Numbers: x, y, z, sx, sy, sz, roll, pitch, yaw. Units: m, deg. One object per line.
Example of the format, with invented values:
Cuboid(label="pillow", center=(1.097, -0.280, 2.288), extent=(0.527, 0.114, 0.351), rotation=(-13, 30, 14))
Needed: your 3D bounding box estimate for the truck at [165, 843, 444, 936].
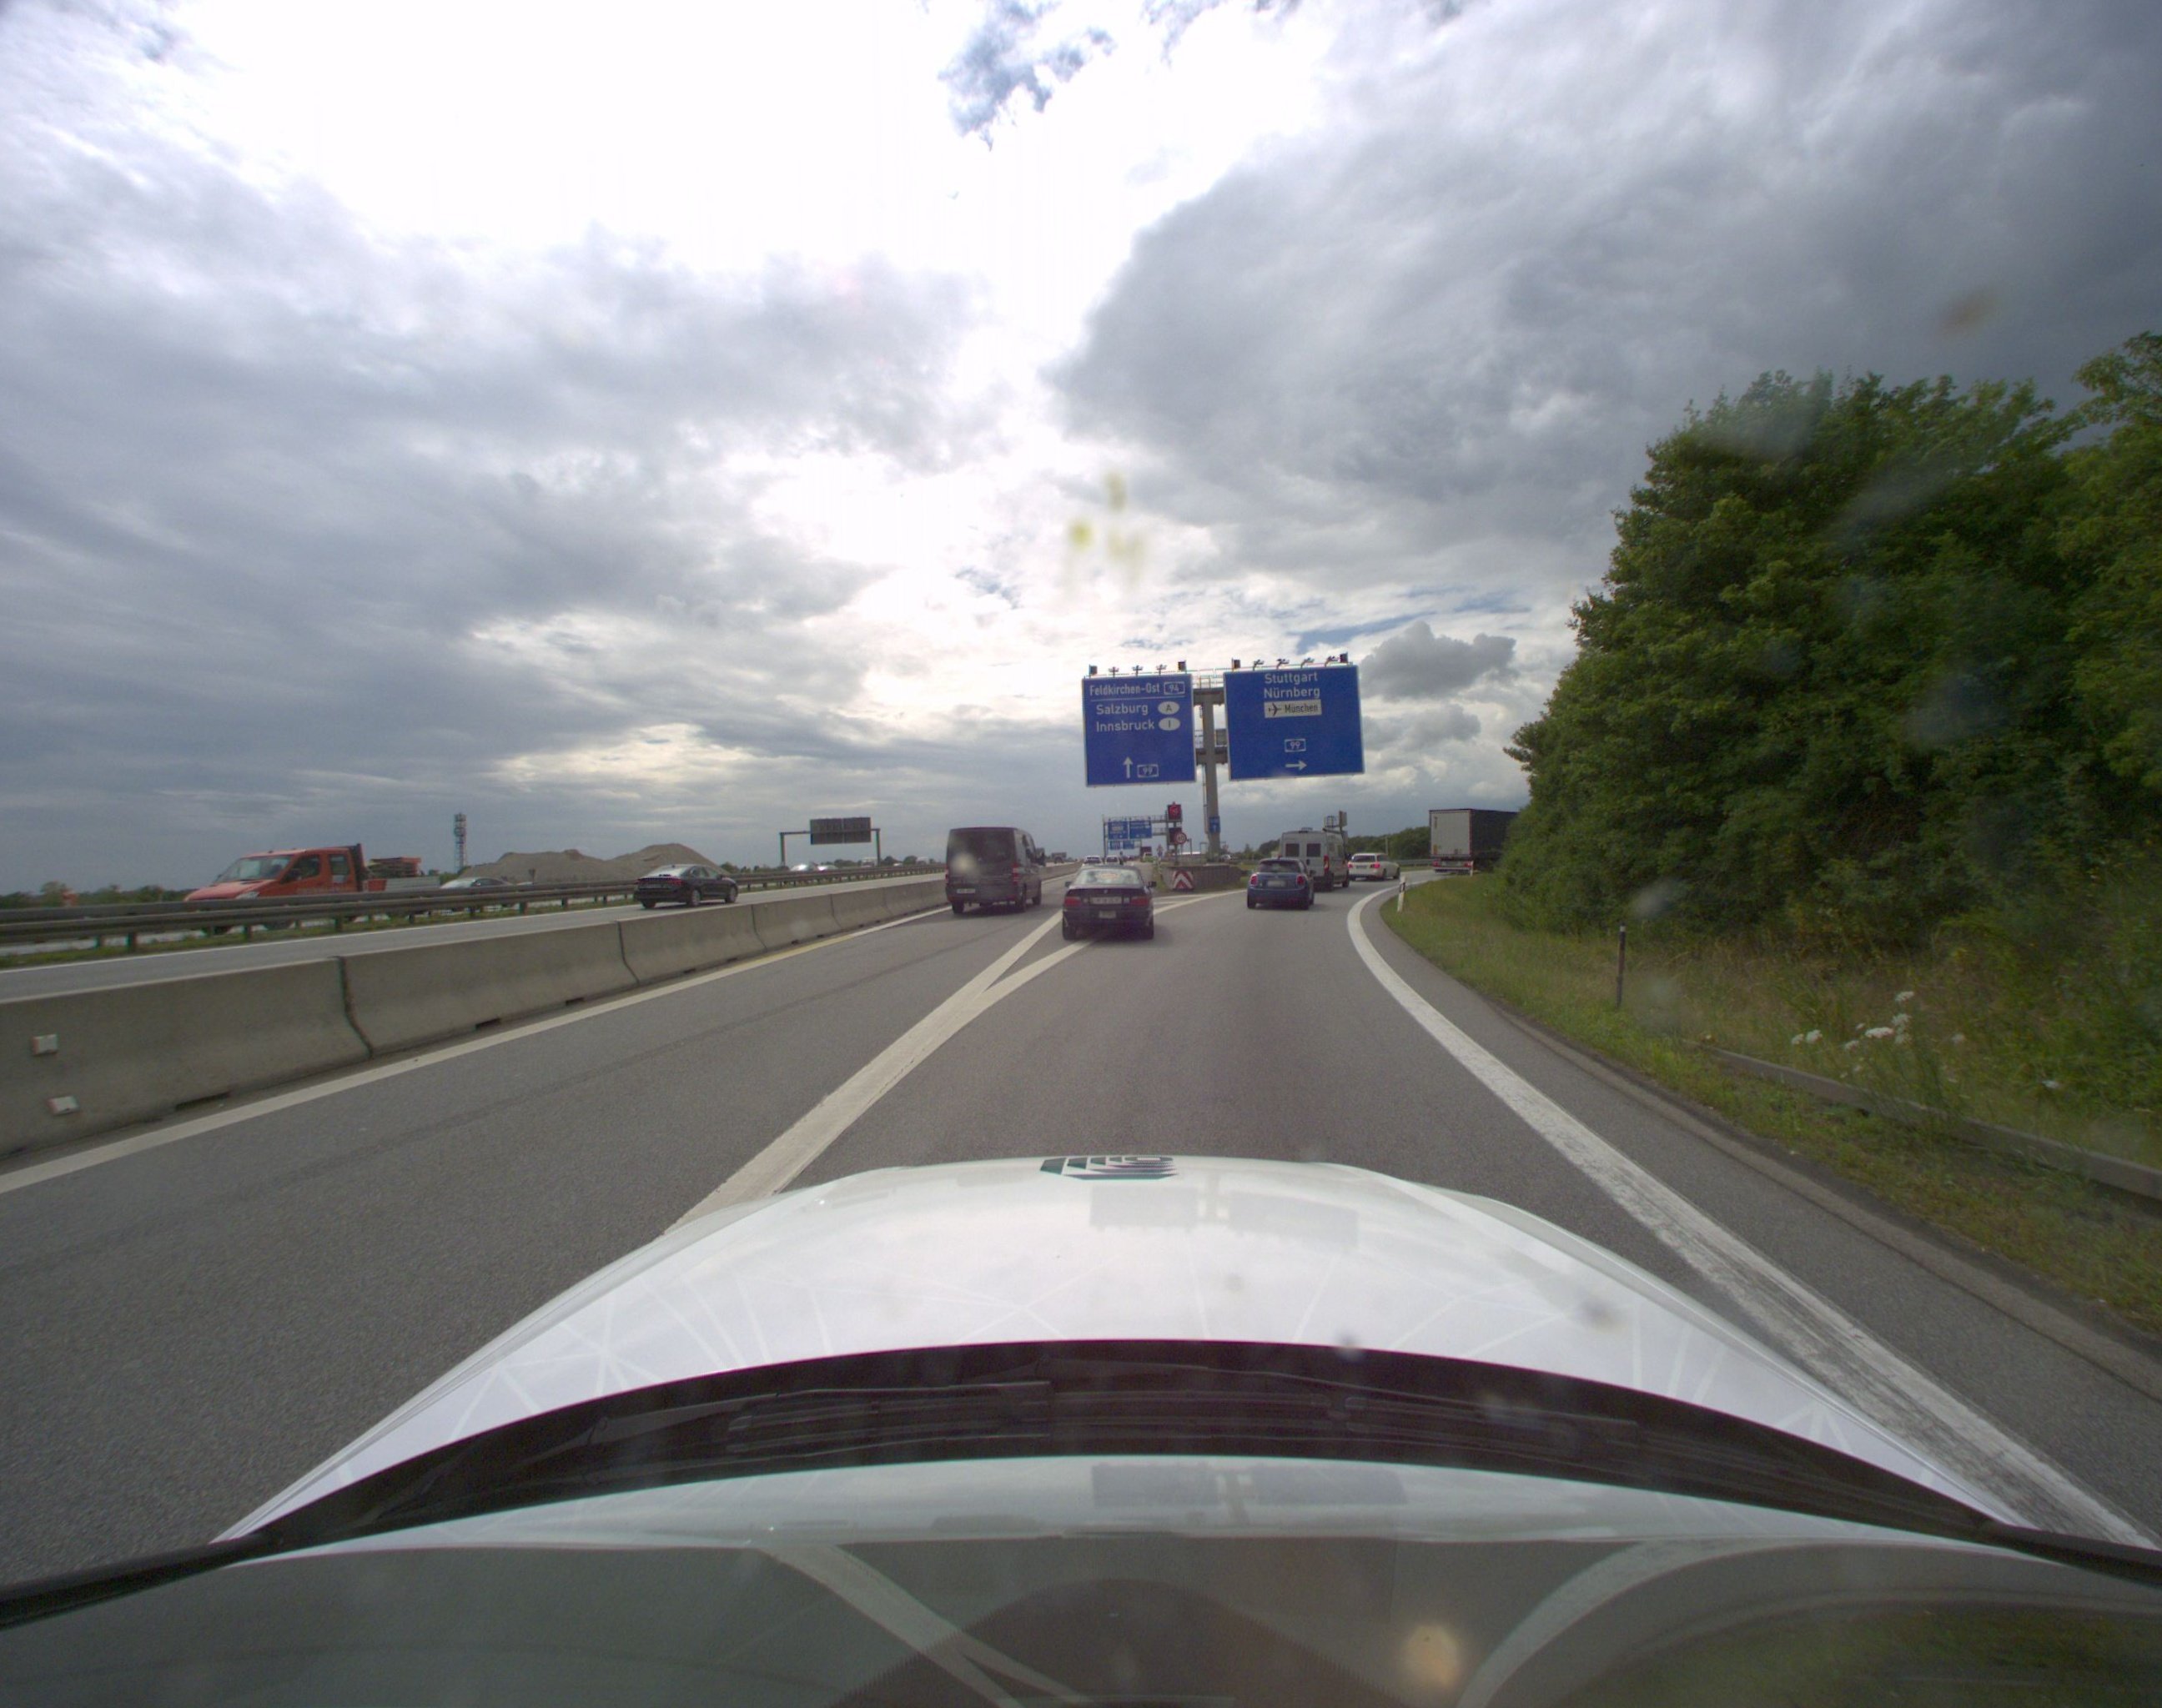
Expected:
Cuboid(label="truck", center=(-22.883, 0.939, 24.549), extent=(2.267, 2.370, 6.204), rotation=(-1, 0, 2))

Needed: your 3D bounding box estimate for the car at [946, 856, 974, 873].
Cuboid(label="car", center=(-11.813, 1.019, 79.924), extent=(1.894, 1.640, 4.647), rotation=(-1, 0, 2))

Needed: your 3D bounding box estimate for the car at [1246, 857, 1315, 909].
Cuboid(label="car", center=(5.958, 0.805, 24.055), extent=(1.715, 1.419, 3.682), rotation=(-1, -1, 18))

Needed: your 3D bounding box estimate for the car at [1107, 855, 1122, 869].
Cuboid(label="car", center=(3.830, 0.876, 93.191), extent=(1.578, 1.484, 3.538), rotation=(-2, 0, 4))

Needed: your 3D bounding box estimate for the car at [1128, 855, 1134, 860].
Cuboid(label="car", center=(14.347, 0.979, 233.170), extent=(1.795, 1.424, 4.005), rotation=(-2, 0, 5))

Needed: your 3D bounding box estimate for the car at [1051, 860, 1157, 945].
Cuboid(label="car", center=(0.536, 0.845, 15.993), extent=(1.774, 1.378, 4.141), rotation=(-2, 0, 4))

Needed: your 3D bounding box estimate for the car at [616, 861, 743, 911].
Cuboid(label="car", center=(-13.950, 1.057, 28.629), extent=(2.051, 1.527, 4.570), rotation=(-1, 0, 2))

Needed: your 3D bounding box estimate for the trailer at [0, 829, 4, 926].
Cuboid(label="trailer", center=(-37.781, 0.801, 22.447), extent=(3.188, 3.269, 9.819), rotation=(-1, 0, -1))

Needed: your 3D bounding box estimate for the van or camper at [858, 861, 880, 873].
Cuboid(label="van or camper", center=(-36.946, 2.292, 142.308), extent=(2.228, 2.013, 6.276), rotation=(-1, 0, 0))

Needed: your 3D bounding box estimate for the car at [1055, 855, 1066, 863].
Cuboid(label="car", center=(-4.381, 1.114, 176.630), extent=(1.985, 1.683, 4.870), rotation=(-1, 0, 3))

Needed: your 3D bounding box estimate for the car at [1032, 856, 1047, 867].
Cuboid(label="car", center=(-6.193, 1.111, 121.043), extent=(1.767, 1.530, 4.003), rotation=(-2, 0, 3))

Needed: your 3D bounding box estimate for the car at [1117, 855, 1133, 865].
Cuboid(label="car", center=(6.406, 0.876, 118.184), extent=(1.983, 1.468, 4.007), rotation=(-2, 0, 7))

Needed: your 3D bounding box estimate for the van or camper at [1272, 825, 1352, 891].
Cuboid(label="van or camper", center=(10.098, 0.149, 35.180), extent=(2.272, 2.568, 6.196), rotation=(-2, 0, 25))

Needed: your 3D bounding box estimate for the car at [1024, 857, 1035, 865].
Cuboid(label="car", center=(-9.430, 1.324, 148.250), extent=(1.546, 1.376, 4.002), rotation=(-1, 0, 2))

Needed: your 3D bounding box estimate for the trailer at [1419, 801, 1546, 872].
Cuboid(label="trailer", center=(26.887, -1.082, 54.058), extent=(13.107, 4.193, 3.300), rotation=(-1, 0, -44))

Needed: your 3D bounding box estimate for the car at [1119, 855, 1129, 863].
Cuboid(label="car", center=(8.301, 0.979, 156.800), extent=(1.858, 1.424, 4.004), rotation=(-2, 0, 4))

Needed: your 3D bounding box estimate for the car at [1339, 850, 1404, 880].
Cuboid(label="car", center=(15.829, 0.583, 44.155), extent=(2.184, 1.501, 4.818), rotation=(-2, -1, 34))

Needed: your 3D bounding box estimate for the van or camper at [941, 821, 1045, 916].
Cuboid(label="van or camper", center=(-2.380, 0.382, 23.844), extent=(1.991, 2.370, 6.131), rotation=(-1, 0, 3))

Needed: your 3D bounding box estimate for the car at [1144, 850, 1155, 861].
Cuboid(label="car", center=(13.458, 0.287, 160.392), extent=(1.986, 2.013, 4.002), rotation=(-1, 0, 2))

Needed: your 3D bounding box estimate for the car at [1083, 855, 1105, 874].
Cuboid(label="car", center=(1.123, 0.835, 68.085), extent=(1.694, 1.508, 3.842), rotation=(-1, 0, 2))
